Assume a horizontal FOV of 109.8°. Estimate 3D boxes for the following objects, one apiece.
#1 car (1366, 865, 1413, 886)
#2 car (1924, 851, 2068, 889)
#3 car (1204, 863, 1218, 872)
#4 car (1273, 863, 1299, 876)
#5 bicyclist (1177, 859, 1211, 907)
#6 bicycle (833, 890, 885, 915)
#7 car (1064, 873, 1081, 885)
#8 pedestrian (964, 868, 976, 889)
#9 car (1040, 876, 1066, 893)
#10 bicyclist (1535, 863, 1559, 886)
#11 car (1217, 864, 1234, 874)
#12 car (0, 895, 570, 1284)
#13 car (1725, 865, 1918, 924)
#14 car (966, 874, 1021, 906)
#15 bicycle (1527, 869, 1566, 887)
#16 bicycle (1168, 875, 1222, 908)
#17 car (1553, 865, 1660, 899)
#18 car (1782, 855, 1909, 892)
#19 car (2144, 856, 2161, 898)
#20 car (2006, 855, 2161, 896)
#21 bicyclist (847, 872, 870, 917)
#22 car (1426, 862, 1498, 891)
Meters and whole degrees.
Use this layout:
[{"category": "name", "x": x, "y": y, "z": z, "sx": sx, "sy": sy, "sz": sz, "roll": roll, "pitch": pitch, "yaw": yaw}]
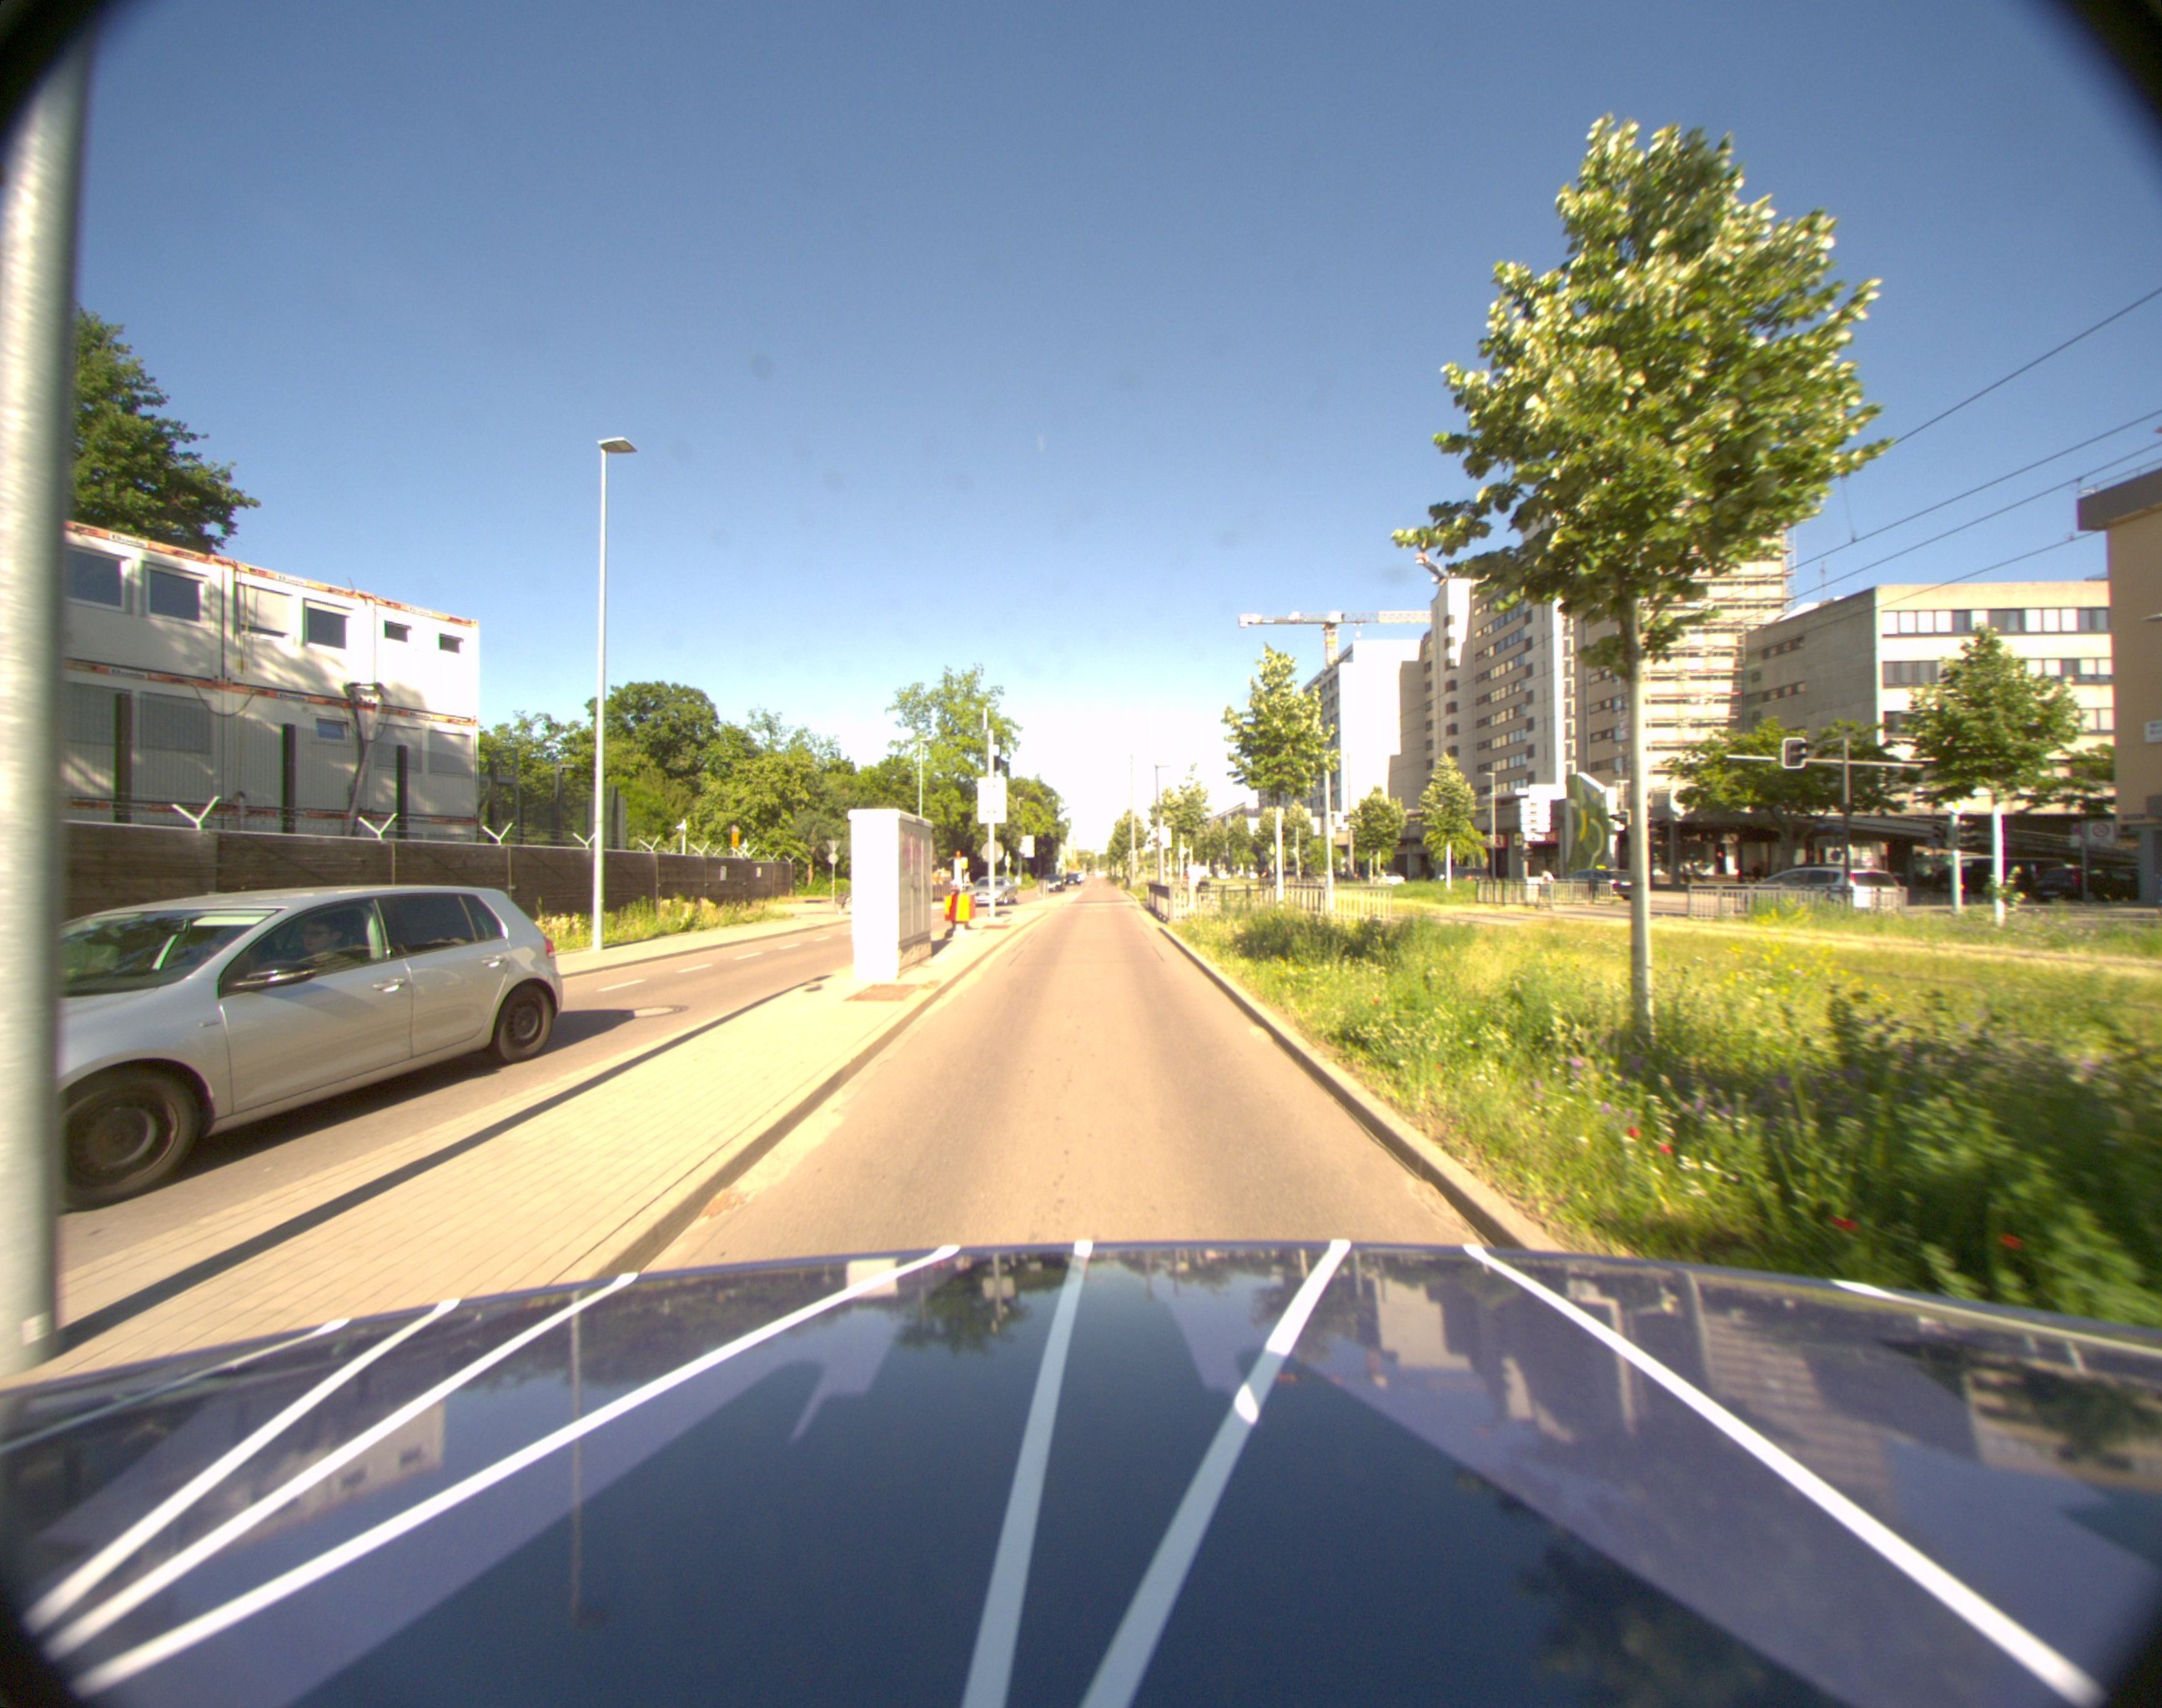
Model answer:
[{"category": "car", "x": 25.104, "y": 1.715, "z": 62.059, "sx": 1.914, "sy": 1.561, "sz": 4.656, "roll": -1, "pitch": -1, "yaw": 0}, {"category": "car", "x": 49.337, "y": 0.856, "z": 41.140, "sx": 2.014, "sy": 1.908, "sz": 4.653, "roll": -1, "pitch": -1, "yaw": -7}, {"category": "car", "x": 24.576, "y": 2.564, "z": 143.704, "sx": 1.914, "sy": 1.561, "sz": 4.594, "roll": -1, "pitch": -1, "yaw": 0}, {"category": "car", "x": 25.420, "y": 1.874, "z": 94.434, "sx": 1.914, "sy": 1.561, "sz": 4.594, "roll": -1, "pitch": -1, "yaw": 0}, {"category": "bicyclist", "x": 4.026, "y": 1.010, "z": 27.153, "sx": 0.861, "sy": 1.676, "sz": 0.818, "roll": -1, "pitch": 0, "yaw": -34}, {"category": "bicycle", "x": -8.649, "y": 1.885, "z": 29.622, "sx": 1.861, "sy": 0.896, "sz": 0.492, "roll": 2, "pitch": -1, "yaw": -4}, {"category": "car", "x": -0.966, "y": 2.962, "z": 90.621, "sx": 1.829, "sy": 1.328, "sz": 4.001, "roll": -1, "pitch": -1, "yaw": 1}, {"category": "pedestrian", "x": -9.406, "y": 2.081, "z": 64.440, "sx": 0.646, "sy": 1.739, "sz": 0.713, "roll": -2, "pitch": 0, "yaw": 43}, {"category": "car", "x": -2.279, "y": 2.495, "z": 62.586, "sx": 1.829, "sy": 1.328, "sz": 4.001, "roll": -1, "pitch": -1, "yaw": 1}, {"category": "bicyclist", "x": 30.015, "y": 1.321, "z": 48.954, "sx": 0.667, "sy": 1.485, "sz": 1.389, "roll": -1, "pitch": 0, "yaw": -3}, {"category": "car", "x": 23.560, "y": 2.427, "z": 124.247, "sx": 1.914, "sy": 1.561, "sz": 4.594, "roll": -1, "pitch": -1, "yaw": 0}, {"category": "car", "x": -5.308, "y": 1.090, "z": 4.621, "sx": 1.671, "sy": 1.427, "sz": 3.973, "roll": -2, "pitch": 0, "yaw": 0}, {"category": "car", "x": 22.141, "y": 1.145, "z": 22.977, "sx": 1.745, "sy": 1.593, "sz": 3.998, "roll": -1, "pitch": -1, "yaw": -5}, {"category": "car", "x": -4.203, "y": 1.716, "z": 37.166, "sx": 1.837, "sy": 1.393, "sz": 4.301, "roll": -1, "pitch": -1, "yaw": 4}, {"category": "bicycle", "x": 29.997, "y": 1.543, "z": 49.030, "sx": 0.636, "sy": 1.070, "sz": 2.842, "roll": -1, "pitch": -1, "yaw": -3}, {"category": "bicycle", "x": 4.052, "y": 1.329, "z": 27.136, "sx": 0.726, "sy": 1.050, "sz": 1.978, "roll": -2, "pitch": 1, "yaw": -33}, {"category": "car", "x": 25.197, "y": 1.293, "z": 36.669, "sx": 1.914, "sy": 1.494, "sz": 4.656, "roll": -1, "pitch": -1, "yaw": 0}, {"category": "car", "x": 41.832, "y": 1.055, "z": 41.732, "sx": 2.014, "sy": 1.908, "sz": 4.653, "roll": -1, "pitch": -1, "yaw": -7}, {"category": "car", "x": 47.786, "y": 0.937, "z": 31.481, "sx": 4.652, "sy": 1.769, "sz": 2.014, "roll": -1, "pitch": -1, "yaw": 0}, {"category": "car", "x": 41.900, "y": 0.861, "z": 31.489, "sx": 4.652, "sy": 1.583, "sz": 2.014, "roll": -1, "pitch": -1, "yaw": 0}, {"category": "bicyclist", "x": -8.673, "y": 1.581, "z": 29.628, "sx": 0.699, "sy": 1.699, "sz": 0.659, "roll": 2, "pitch": -1, "yaw": -6}, {"category": "car", "x": 22.283, "y": 1.306, "z": 44.653, "sx": 1.914, "sy": 1.587, "sz": 4.656, "roll": -1, "pitch": -1, "yaw": 0}]
